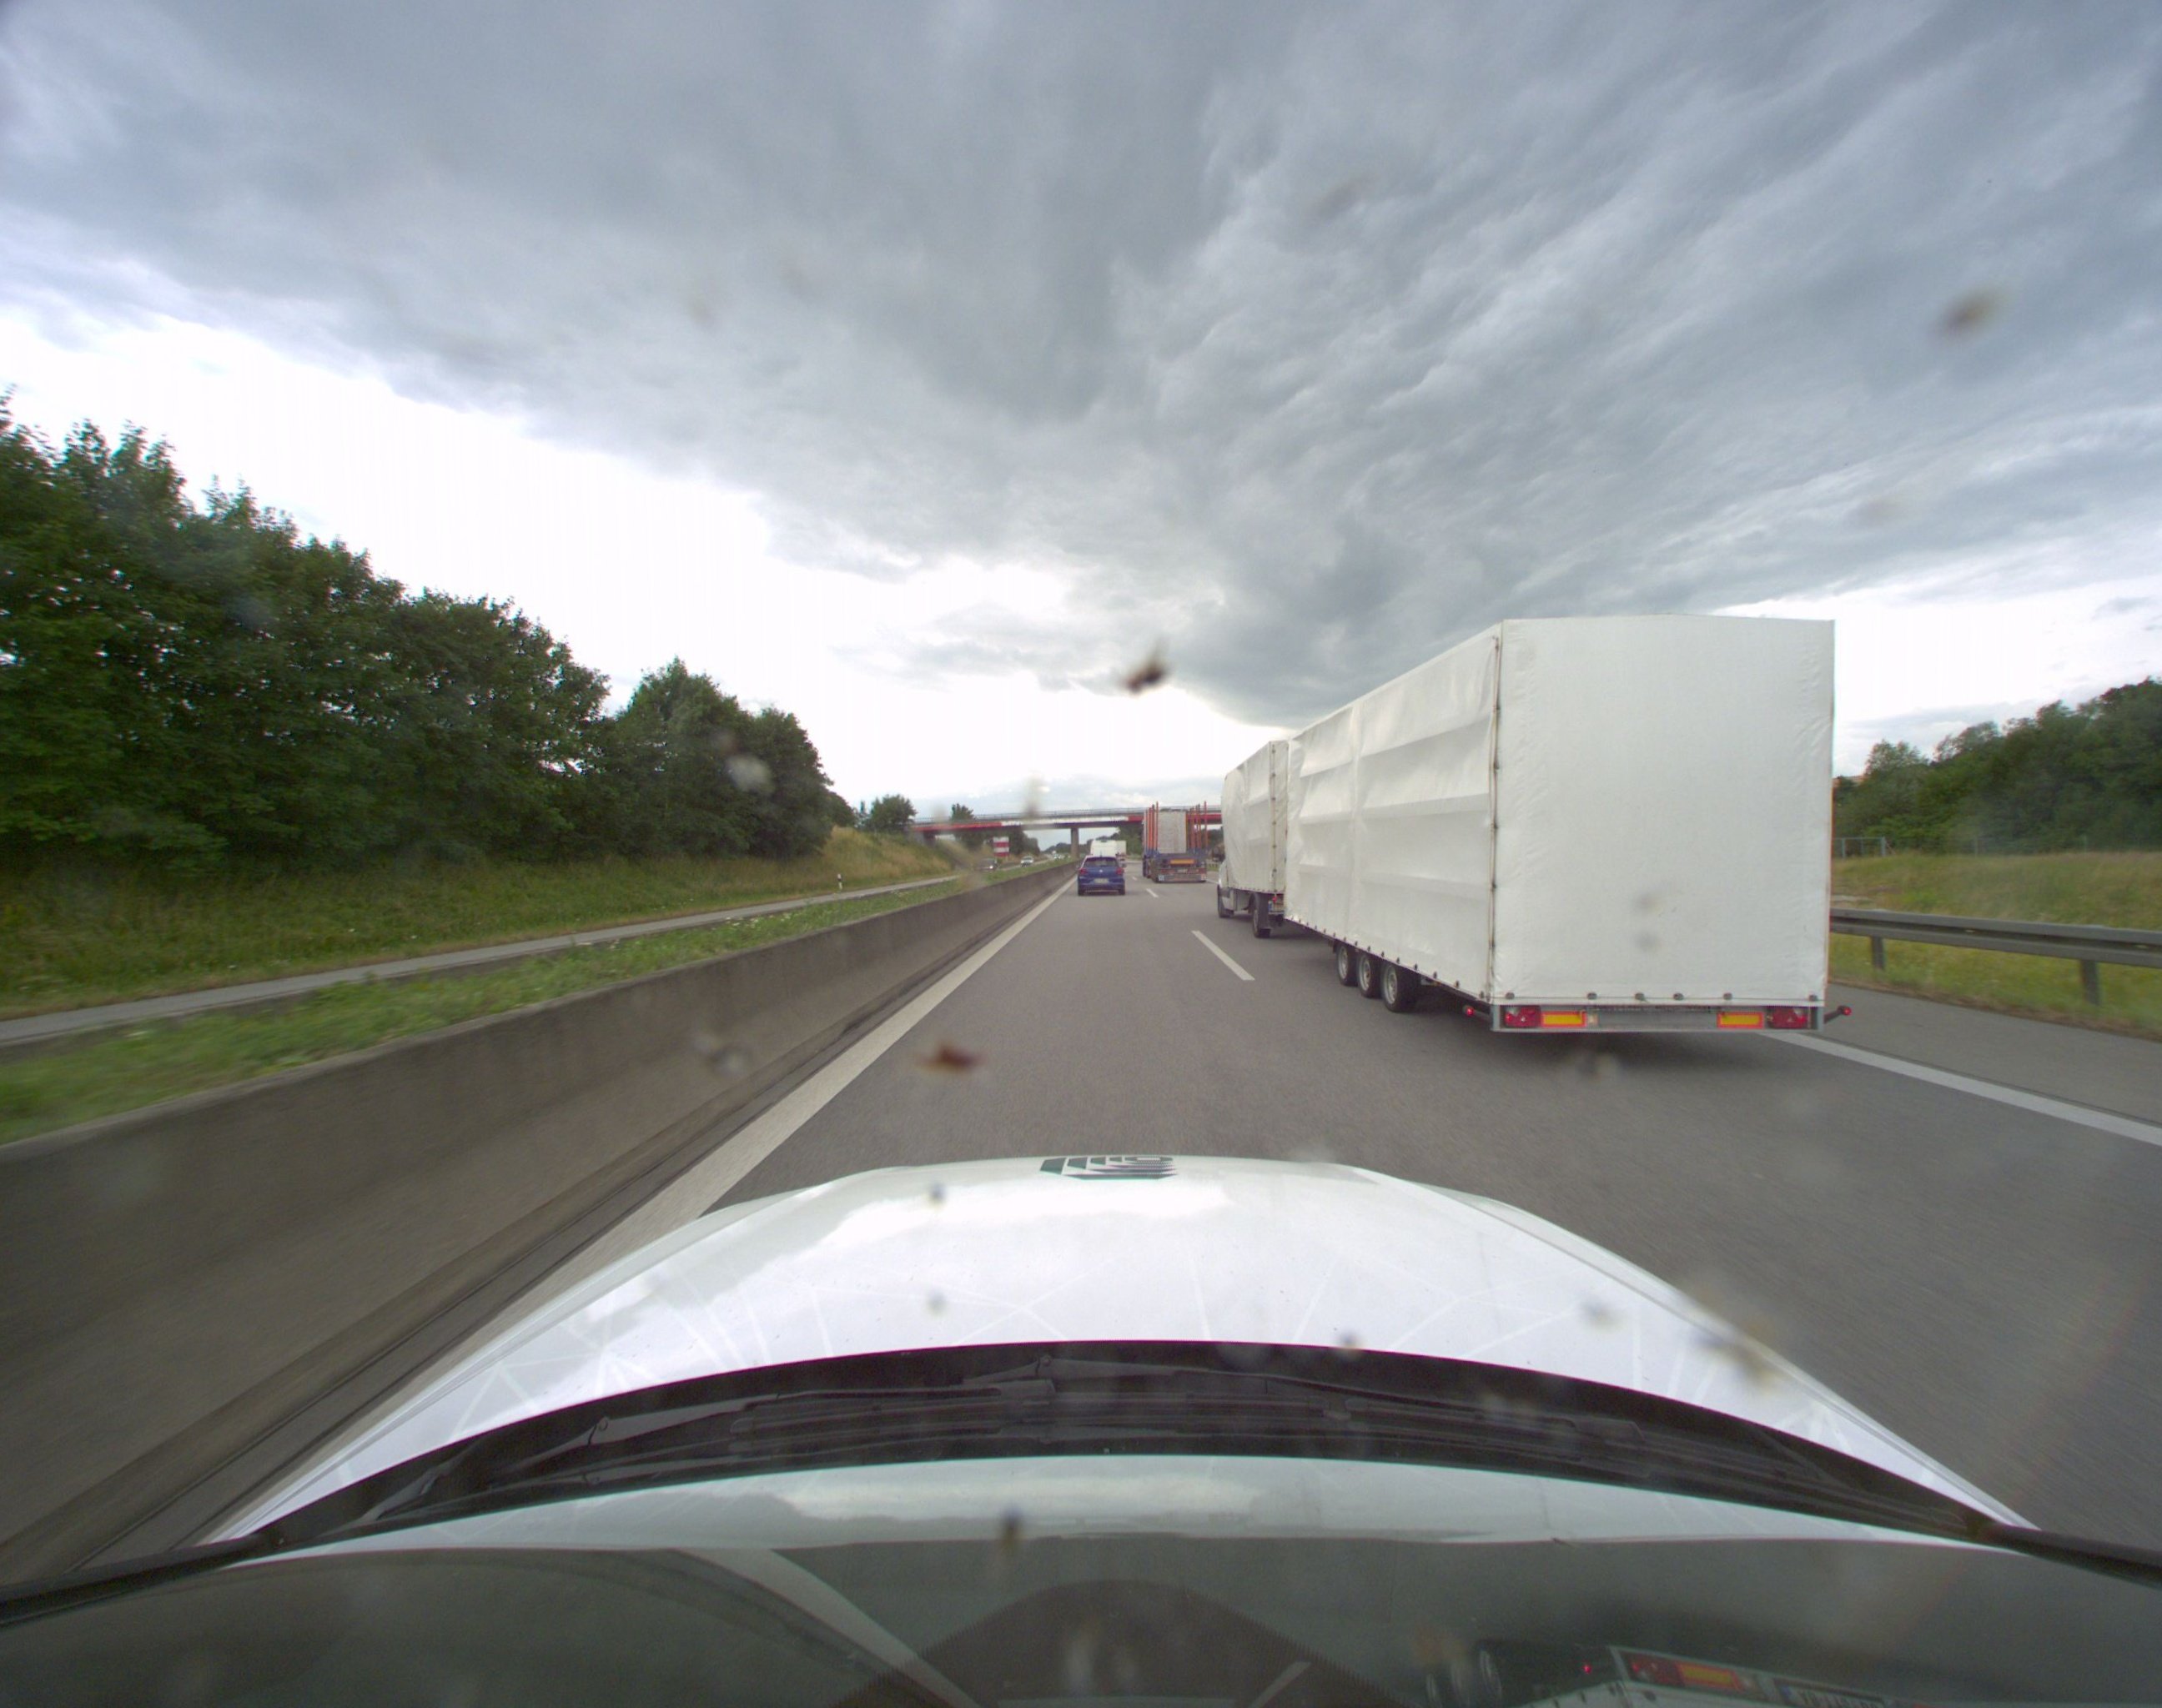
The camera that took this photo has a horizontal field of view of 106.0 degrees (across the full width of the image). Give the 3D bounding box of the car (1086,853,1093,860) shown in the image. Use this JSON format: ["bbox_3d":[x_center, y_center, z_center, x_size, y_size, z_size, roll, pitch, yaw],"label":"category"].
[{"bbox_3d":[2.354,0.706,222.814,1.986,1.684,4.001,-1,0,1],"label":"car"}]

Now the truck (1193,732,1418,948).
[{"bbox_3d":[3.914,-0.216,16.019,2.422,3.243,7.246,-1,0,0],"label":"truck"}]

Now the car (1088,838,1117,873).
[{"bbox_3d":[1.692,0.116,63.196,2.122,2.482,5.842,-1,0,2],"label":"car"}]

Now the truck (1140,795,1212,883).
[{"bbox_3d":[4.886,-0.755,43.996,2.664,4.045,11.109,-2,0,1],"label":"truck"}]

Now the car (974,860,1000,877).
[{"bbox_3d":[-8.377,1.265,72.851,1.640,1.378,4.237,-4,0,2],"label":"car"}]

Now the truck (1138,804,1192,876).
[{"bbox_3d":[5.017,-0.806,49.431,2.664,4.045,5.513,-2,0,1],"label":"truck"}]

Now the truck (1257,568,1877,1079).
[{"bbox_3d":[3.867,-0.201,8.755,2.407,3.222,7.143,-1,0,0],"label":"truck"}]

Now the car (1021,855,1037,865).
[{"bbox_3d":[-7.954,0.889,124.647,1.888,1.461,4.543,-4,0,2],"label":"car"}]

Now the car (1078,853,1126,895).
[{"bbox_3d":[0.772,0.702,30.279,1.658,1.407,3.649,-1,0,1],"label":"car"}]

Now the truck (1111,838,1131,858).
[{"bbox_3d":[7.746,-1.104,158.009,3.102,3.689,9.316,-3,0,-2],"label":"truck"}]
